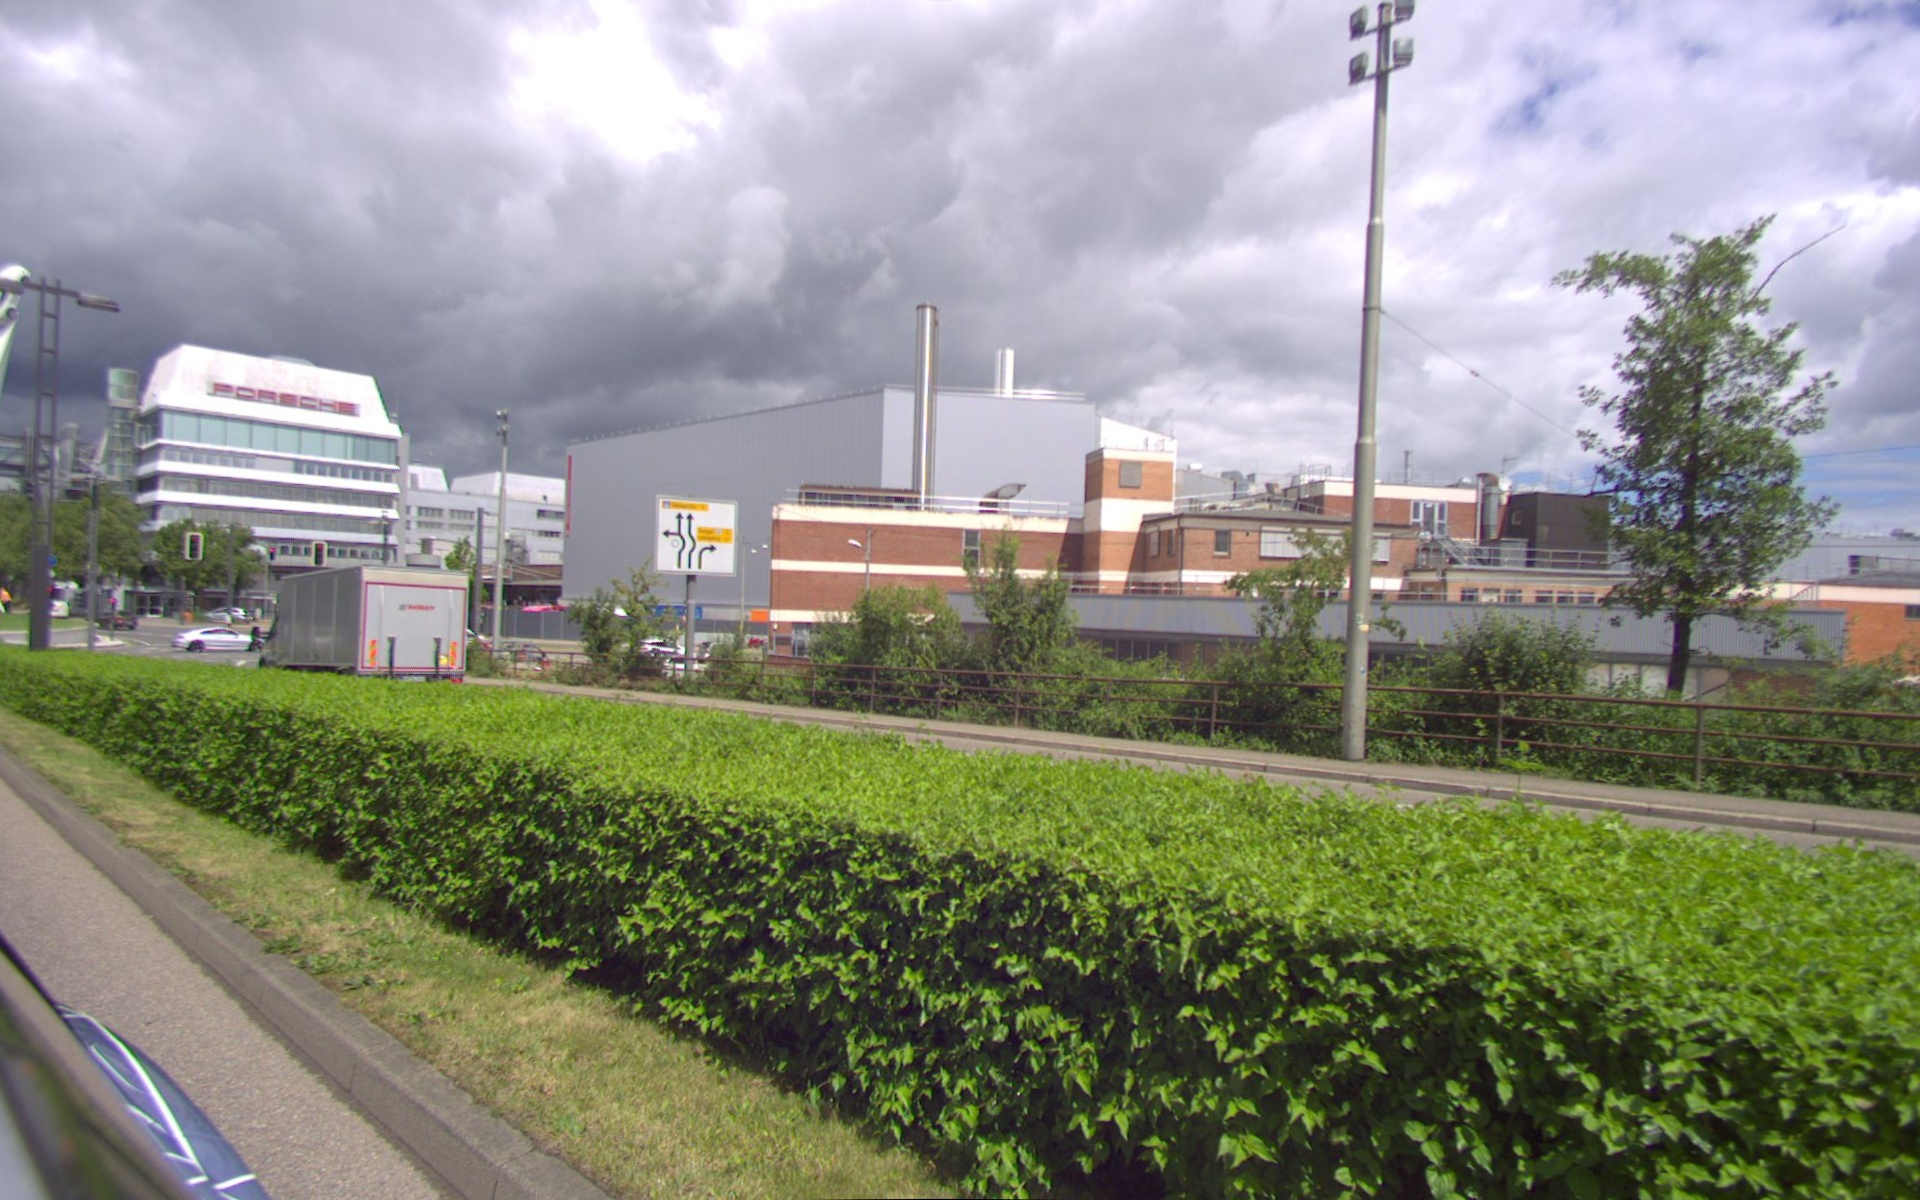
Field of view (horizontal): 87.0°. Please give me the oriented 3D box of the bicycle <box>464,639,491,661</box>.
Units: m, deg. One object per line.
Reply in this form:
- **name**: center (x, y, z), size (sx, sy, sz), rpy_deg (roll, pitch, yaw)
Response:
- **bicycle**: center (-22.385, 2.328, 46.928), size (1.950, 0.996, 0.513), rpy_deg (-2, -3, 44)

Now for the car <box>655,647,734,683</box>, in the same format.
- **car**: center (-14.285, 3.468, 54.386), size (3.931, 1.875, 1.757), rpy_deg (1, -2, -21)

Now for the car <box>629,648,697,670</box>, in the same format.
- **car**: center (-19.969, 3.966, 68.189), size (4.123, 1.380, 1.623), rpy_deg (2, -2, -41)

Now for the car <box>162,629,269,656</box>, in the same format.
- **car**: center (-42.997, 2.434, 58.502), size (4.713, 1.497, 2.051), rpy_deg (2, -2, -44)

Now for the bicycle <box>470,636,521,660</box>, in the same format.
- **bicycle**: center (-19.890, 2.032, 43.361), size (0.619, 0.996, 1.928), rpy_deg (-2, -3, 32)

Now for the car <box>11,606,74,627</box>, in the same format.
- **car**: center (-84.462, 1.497, 93.199), size (4.351, 1.843, 1.994), rpy_deg (0, -1, 9)

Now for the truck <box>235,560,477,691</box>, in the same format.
- **truck**: center (-15.991, 0.809, 26.388), size (9.374, 2.879, 2.825), rpy_deg (-4, -4, 42)

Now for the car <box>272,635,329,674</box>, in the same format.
- **car**: center (-26.792, 2.191, 41.038), size (1.772, 1.433, 4.503), rpy_deg (3, -3, -34)

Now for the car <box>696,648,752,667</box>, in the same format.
- **car**: center (-16.630, 4.012, 71.371), size (3.563, 1.251, 1.471), rpy_deg (2, -2, -41)

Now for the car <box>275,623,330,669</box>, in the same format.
- **car**: center (-30.516, 2.079, 47.055), size (1.966, 1.973, 4.641), rpy_deg (1, -1, -31)

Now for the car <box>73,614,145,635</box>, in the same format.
- **car**: center (-70.192, 2.000, 83.490), size (4.132, 1.708, 1.956), rpy_deg (1, -1, -5)
